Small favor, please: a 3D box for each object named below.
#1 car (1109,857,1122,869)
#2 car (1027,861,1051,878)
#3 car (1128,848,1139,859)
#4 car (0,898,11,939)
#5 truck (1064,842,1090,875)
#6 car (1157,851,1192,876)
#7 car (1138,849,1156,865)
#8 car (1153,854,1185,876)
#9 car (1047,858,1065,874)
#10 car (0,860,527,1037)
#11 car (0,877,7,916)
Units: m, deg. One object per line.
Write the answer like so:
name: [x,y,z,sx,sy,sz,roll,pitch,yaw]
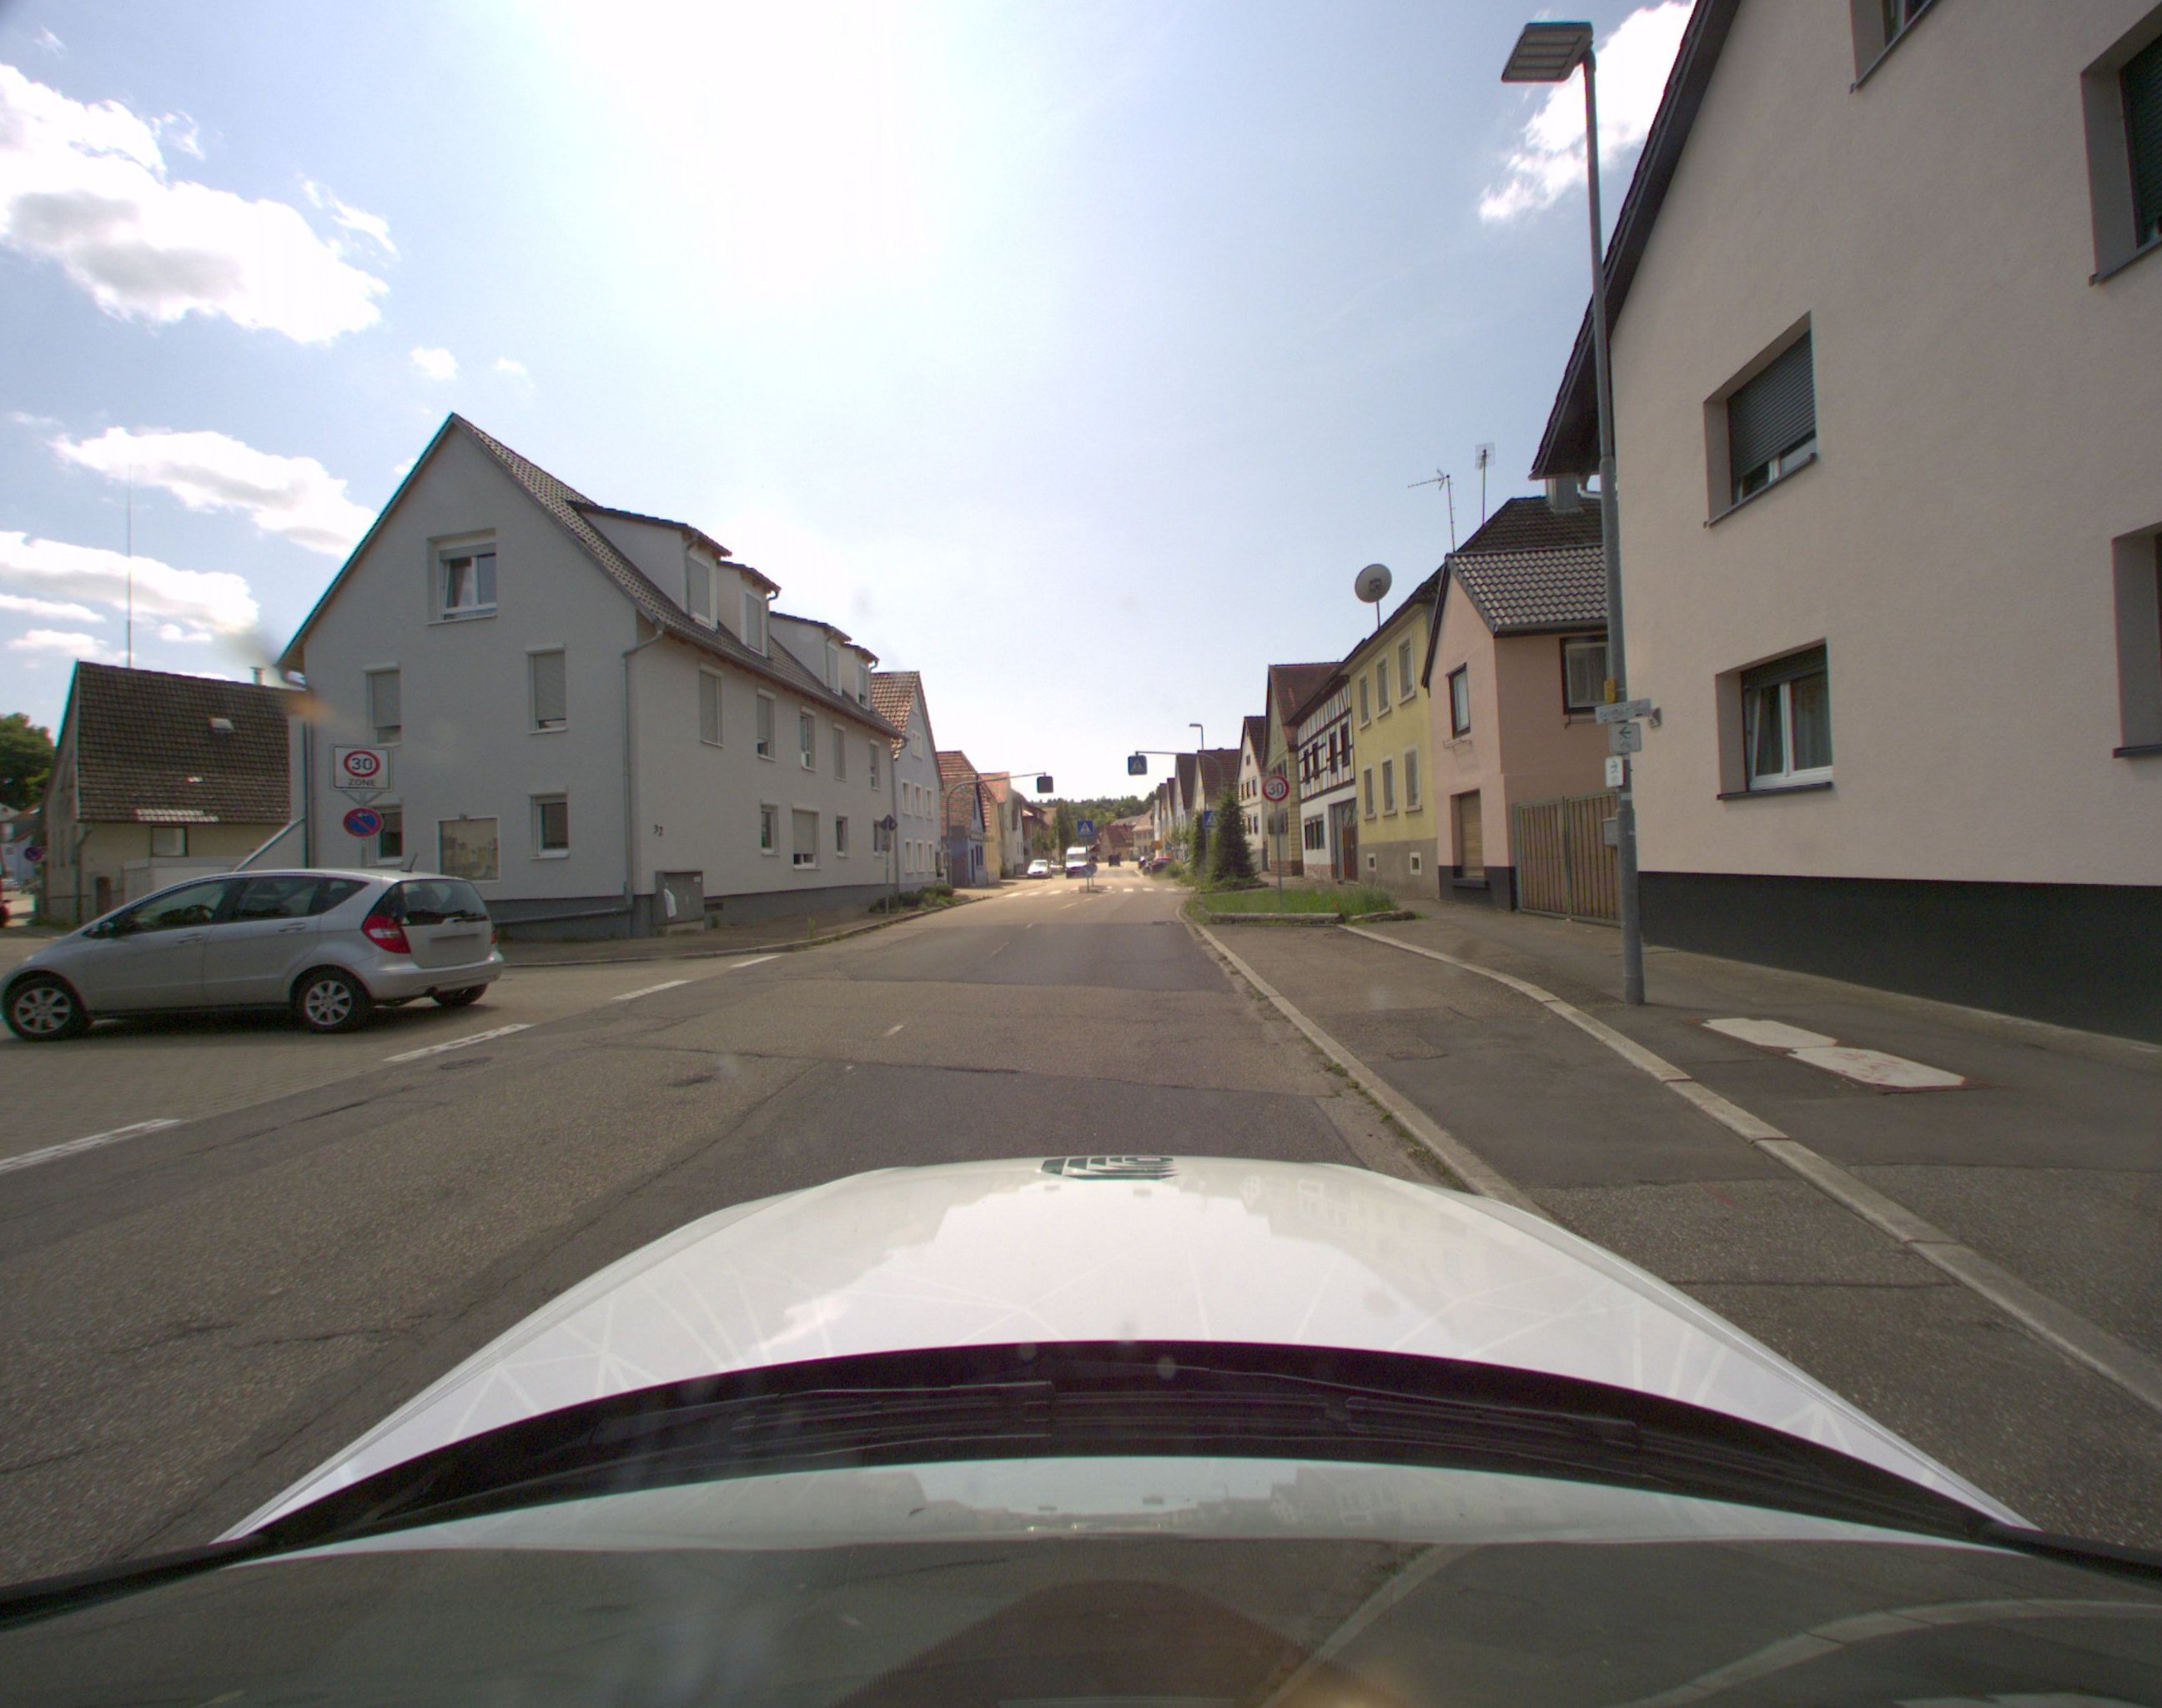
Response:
car: [5.620,1.443,132.271,1.986,1.816,4.000,-1,-2,1]
car: [-3.584,1.365,69.471,1.989,1.321,3.703,-1,-2,-3]
car: [10.188,-0.047,159.057,1.986,2.014,4.001,-1,-2,2]
car: [-42.372,2.484,31.201,3.431,1.530,1.500,-3,-3,35]
truck: [-0.293,0.474,69.770,1.986,2.537,6.740,-1,-2,1]
car: [6.271,0.662,54.840,1.986,1.508,4.001,-1,-2,2]
car: [8.329,0.363,102.533,1.986,1.816,4.000,-1,-2,1]
car: [6.301,0.821,58.954,1.986,1.508,4.001,-1,-2,2]
car: [-2.736,1.349,90.173,1.661,1.596,4.001,-1,-2,2]
car: [-8.319,0.892,8.537,3.706,1.643,1.815,0,-1,-1]
car: [-46.797,1.826,34.511,3.431,1.635,1.406,-3,-3,35]
